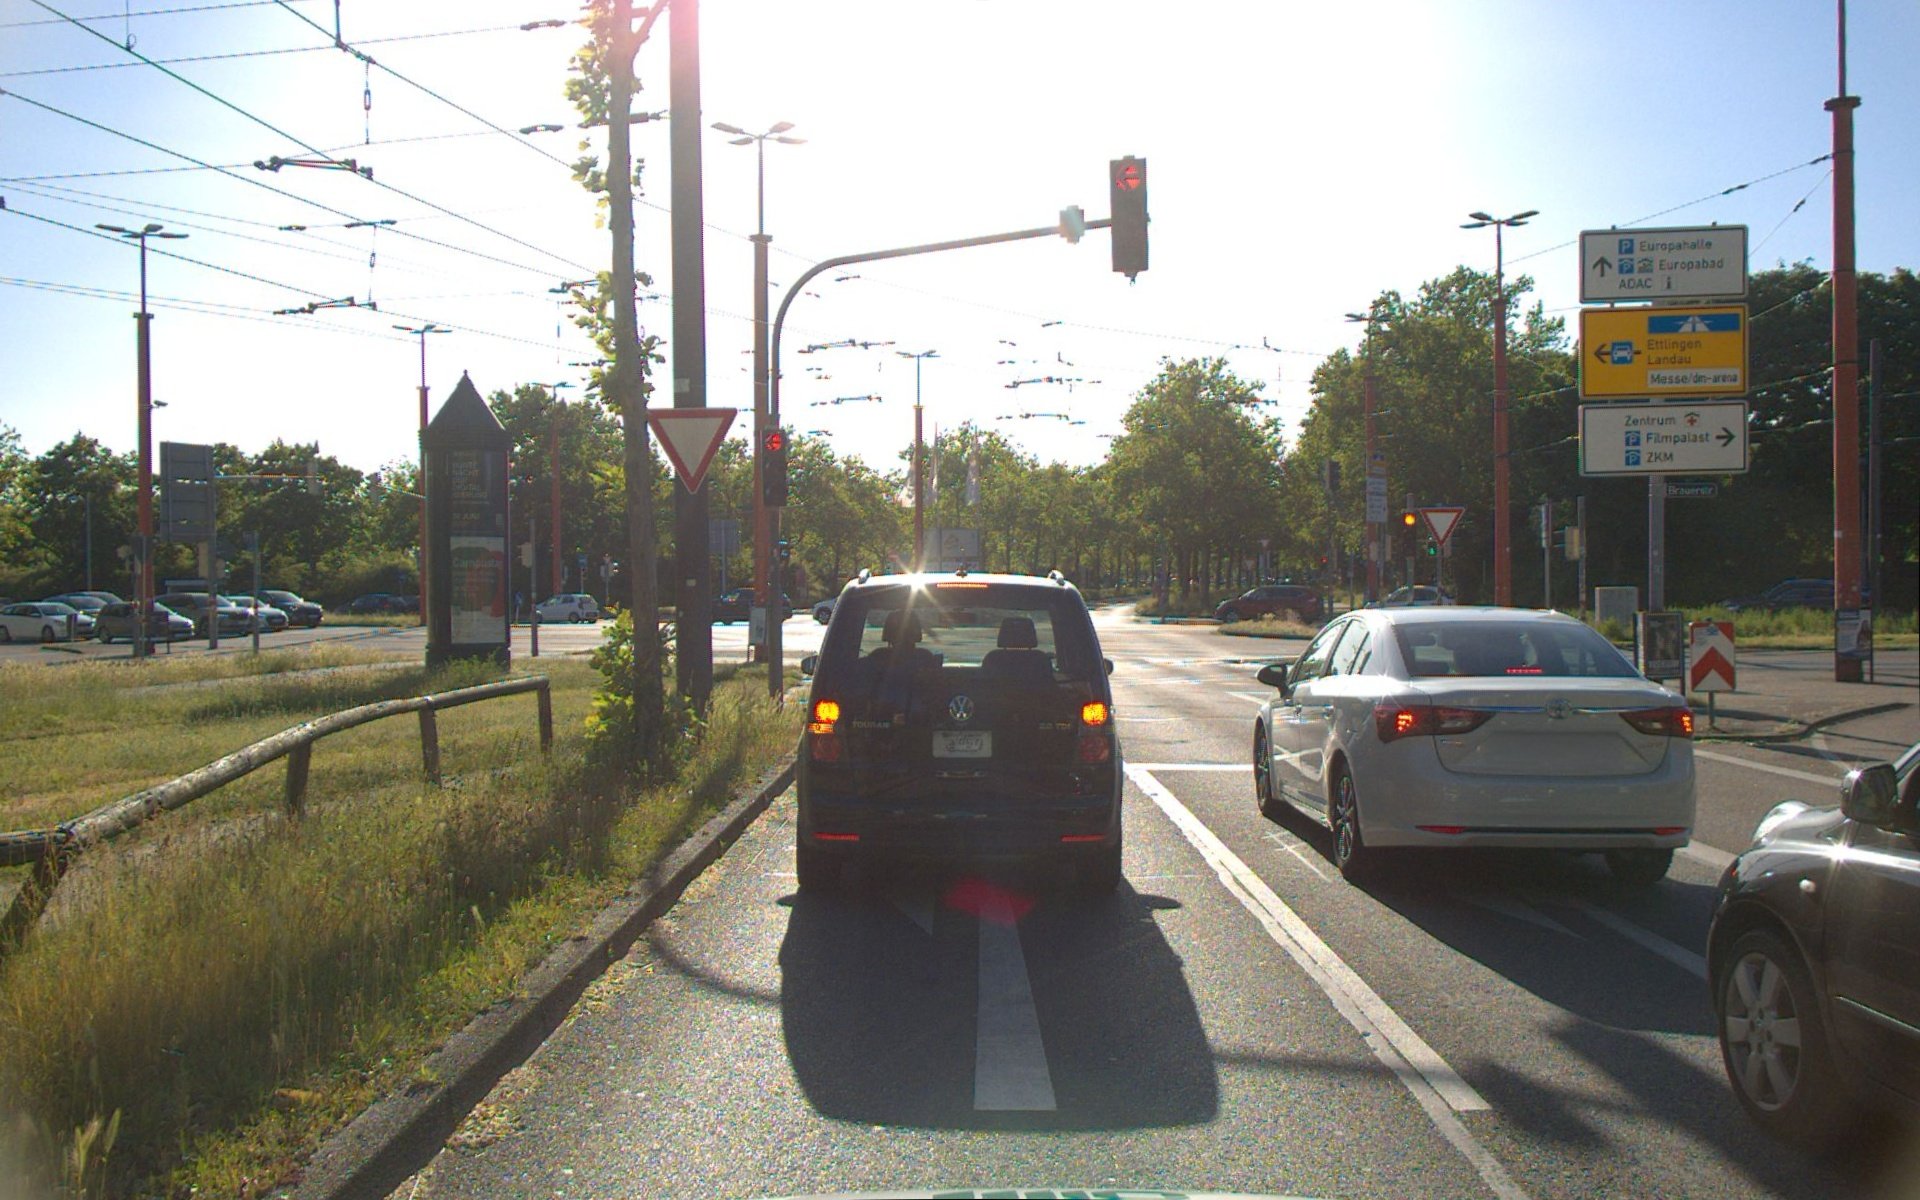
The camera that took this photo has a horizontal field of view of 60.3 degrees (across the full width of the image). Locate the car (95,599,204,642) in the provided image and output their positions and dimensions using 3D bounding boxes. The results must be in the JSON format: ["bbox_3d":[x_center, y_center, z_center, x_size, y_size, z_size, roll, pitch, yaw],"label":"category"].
[{"bbox_3d":[-29.548,0.726,60.294,3.755,1.466,1.655,0,0,27],"label":"car"}]

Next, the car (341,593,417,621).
[{"bbox_3d":[-29.825,0.349,84.898,3.721,1.427,1.653,0,0,30],"label":"car"}]

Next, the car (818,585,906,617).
[{"bbox_3d":[-4.512,0.025,76.263,3.714,1.427,1.656,0,0,22],"label":"car"}]

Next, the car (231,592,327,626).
[{"bbox_3d":[-29.472,0.368,71.543,4.060,1.440,1.542,0,0,26],"label":"car"}]

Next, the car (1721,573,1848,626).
[{"bbox_3d":[29.634,-0.036,59.559,4.037,1.822,1.797,0,0,25],"label":"car"}]

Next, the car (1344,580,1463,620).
[{"bbox_3d":[16.566,-0.005,61.782,4.039,1.427,1.655,0,0,27],"label":"car"}]

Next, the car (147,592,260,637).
[{"bbox_3d":[-29.322,0.536,64.085,4.541,1.676,1.654,0,0,30],"label":"car"}]

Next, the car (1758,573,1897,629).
[{"bbox_3d":[29.043,0.010,55.431,4.040,1.822,1.796,0,0,29],"label":"car"}]

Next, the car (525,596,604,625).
[{"bbox_3d":[-20.164,0.504,84.257,3.717,1.427,1.655,0,0,26],"label":"car"}]

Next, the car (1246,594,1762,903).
[{"bbox_3d":[3.013,0.728,10.180,1.762,1.465,4.326,1,0,0],"label":"car"}]

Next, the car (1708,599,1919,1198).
[{"bbox_3d":[3.135,0.741,3.484,1.544,1.465,3.441,1,0,0],"label":"car"}]

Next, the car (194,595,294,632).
[{"bbox_3d":[-29.409,0.527,67.920,4.060,1.440,1.542,0,0,26],"label":"car"}]

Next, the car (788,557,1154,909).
[{"bbox_3d":[0.066,0.634,9.958,1.703,1.630,4.326,1,0,0],"label":"car"}]

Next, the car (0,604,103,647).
[{"bbox_3d":[-34.942,0.965,63.247,4.536,1.546,1.654,0,0,30],"label":"car"}]

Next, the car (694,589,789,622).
[{"bbox_3d":[-9.930,0.239,75.114,4.035,1.427,1.656,0,0,23],"label":"car"}]

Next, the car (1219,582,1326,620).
[{"bbox_3d":[12.759,0.037,67.564,4.038,1.497,1.655,0,0,26],"label":"car"}]

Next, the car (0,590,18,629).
[{"bbox_3d":[-42.989,0.378,71.628,4.541,1.676,1.753,0,0,30],"label":"car"}]
